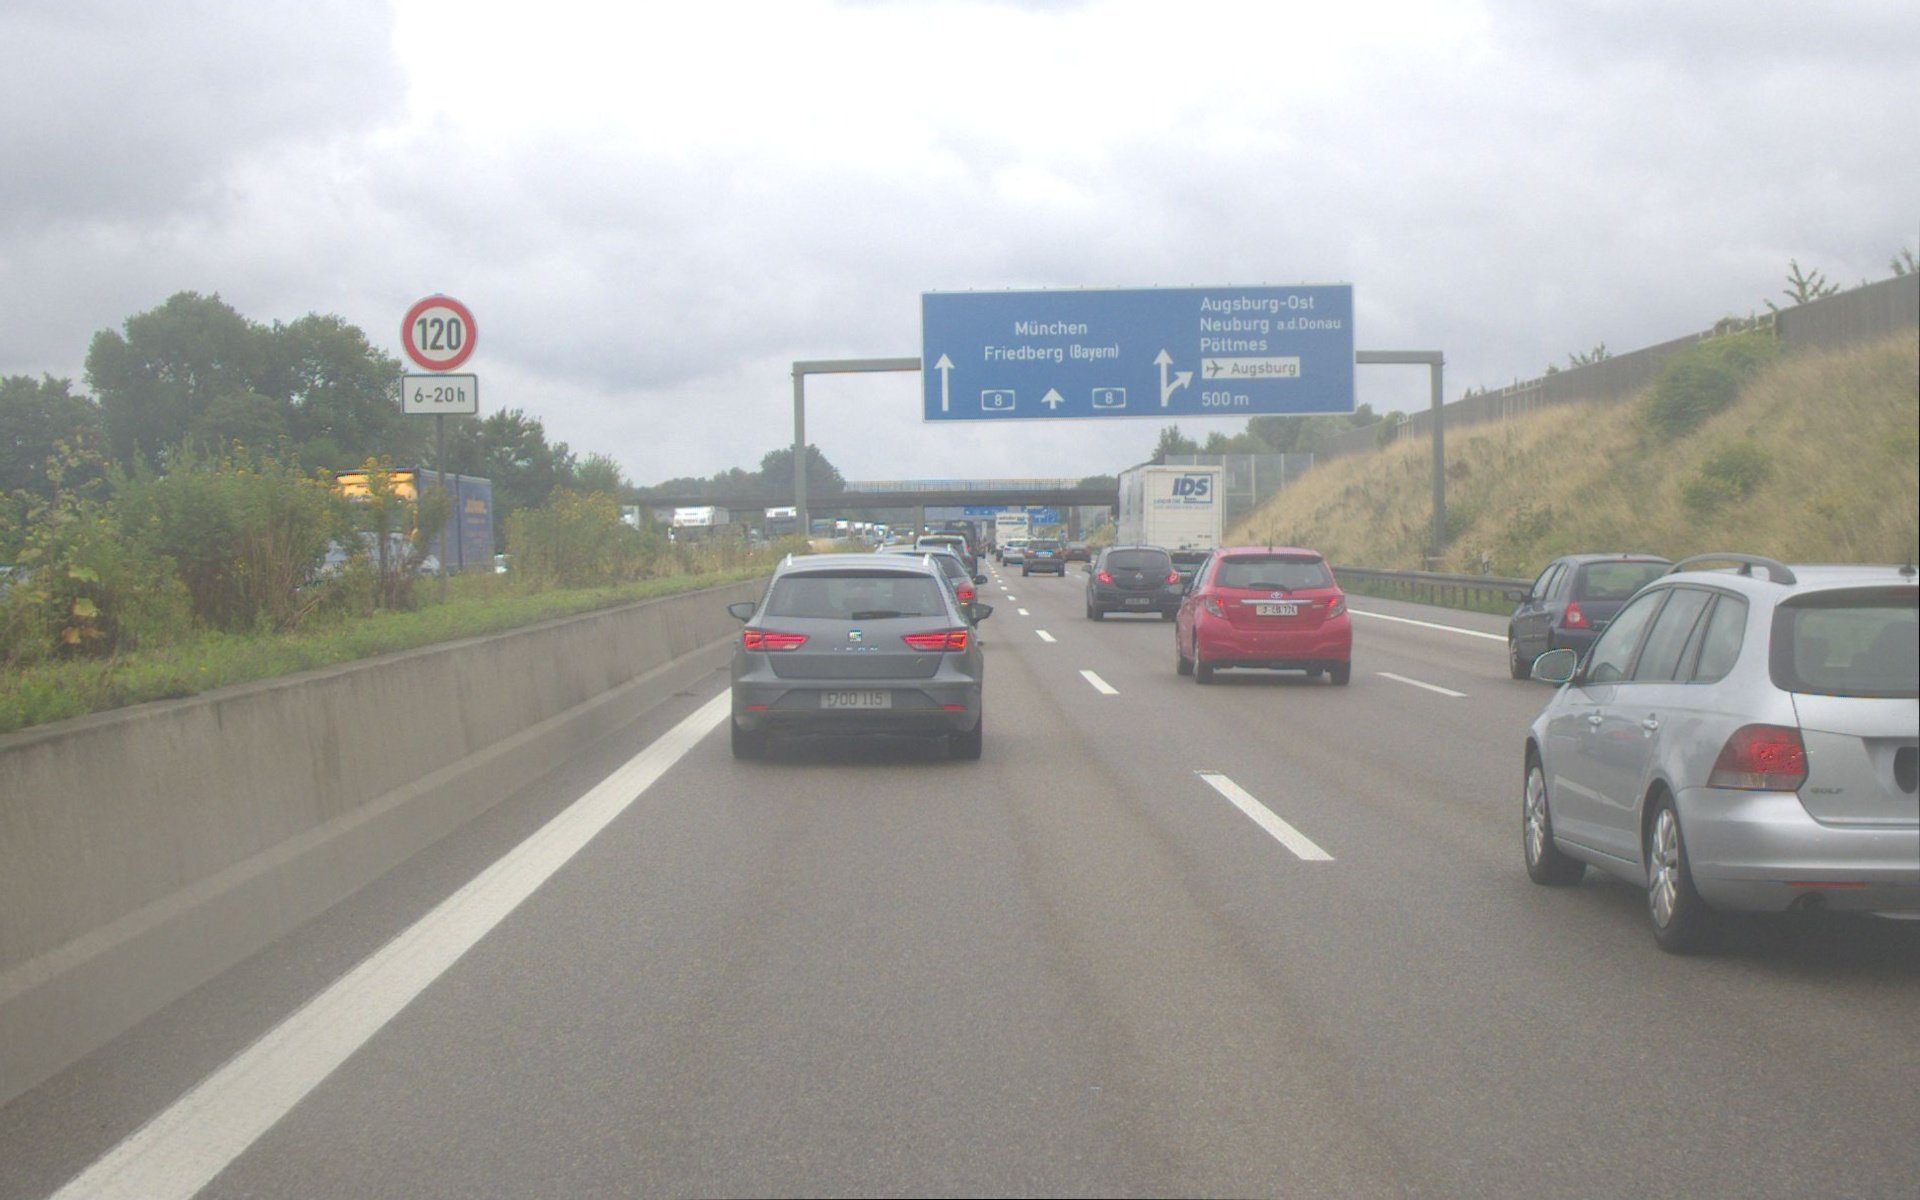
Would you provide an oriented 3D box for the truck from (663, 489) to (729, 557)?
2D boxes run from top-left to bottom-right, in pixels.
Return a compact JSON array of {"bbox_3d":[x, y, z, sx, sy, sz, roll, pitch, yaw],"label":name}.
[{"bbox_3d":[-17.097,-4.977,223.175,3.615,4.260,7.591,1,1,0],"label":"truck"}]

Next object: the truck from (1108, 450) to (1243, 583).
[{"bbox_3d":[7.403,-2.818,121.080,3.283,4.280,19.034,1,1,-1],"label":"truck"}]

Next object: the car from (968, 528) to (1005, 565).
[{"bbox_3d":[1.476,-2.958,191.295,1.993,2.007,4.242,1,1,0],"label":"car"}]

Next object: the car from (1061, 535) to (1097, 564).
[{"bbox_3d":[7.758,-3.309,224.009,1.993,1.853,4.391,0,1,-3],"label":"car"}]

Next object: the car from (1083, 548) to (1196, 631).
[{"bbox_3d":[3.437,-0.235,66.613,1.921,1.516,4.622,0,1,0],"label":"car"}]

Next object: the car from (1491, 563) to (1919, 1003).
[{"bbox_3d":[3.376,0.589,13.767,1.742,1.420,4.517,-1,1,-1],"label":"car"}]

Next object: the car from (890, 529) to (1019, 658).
[{"bbox_3d":[-0.097,-0.115,49.278,1.754,1.744,4.000,1,1,-1],"label":"car"}]

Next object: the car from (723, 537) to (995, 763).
[{"bbox_3d":[-0.710,0.306,24.616,1.768,1.462,4.000,1,1,-1],"label":"car"}]

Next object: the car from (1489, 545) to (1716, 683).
[{"bbox_3d":[6.923,0.117,37.377,1.702,1.396,3.875,1,1,0],"label":"car"}]

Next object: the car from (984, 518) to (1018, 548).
[{"bbox_3d":[2.783,-4.551,233.488,1.993,2.007,4.001,-1,1,-3],"label":"car"}]

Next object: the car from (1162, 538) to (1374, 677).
[{"bbox_3d":[3.374,0.036,38.493,1.891,1.442,4.685,0,1,-1],"label":"car"}]

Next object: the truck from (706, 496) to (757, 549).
[{"bbox_3d":[-13.004,-4.416,196.294,2.311,2.898,7.424,1,1,0],"label":"truck"}]

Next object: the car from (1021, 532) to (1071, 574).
[{"bbox_3d":[3.557,-1.950,143.102,1.845,1.681,4.000,1,1,-2],"label":"car"}]

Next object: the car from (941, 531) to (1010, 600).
[{"bbox_3d":[0.395,-0.948,93.232,1.704,1.790,3.855,-2,1,-2],"label":"car"}]

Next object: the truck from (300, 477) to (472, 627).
[{"bbox_3d":[-17.595,-1.466,106.215,3.412,4.349,10.991,1,1,0],"label":"truck"}]
